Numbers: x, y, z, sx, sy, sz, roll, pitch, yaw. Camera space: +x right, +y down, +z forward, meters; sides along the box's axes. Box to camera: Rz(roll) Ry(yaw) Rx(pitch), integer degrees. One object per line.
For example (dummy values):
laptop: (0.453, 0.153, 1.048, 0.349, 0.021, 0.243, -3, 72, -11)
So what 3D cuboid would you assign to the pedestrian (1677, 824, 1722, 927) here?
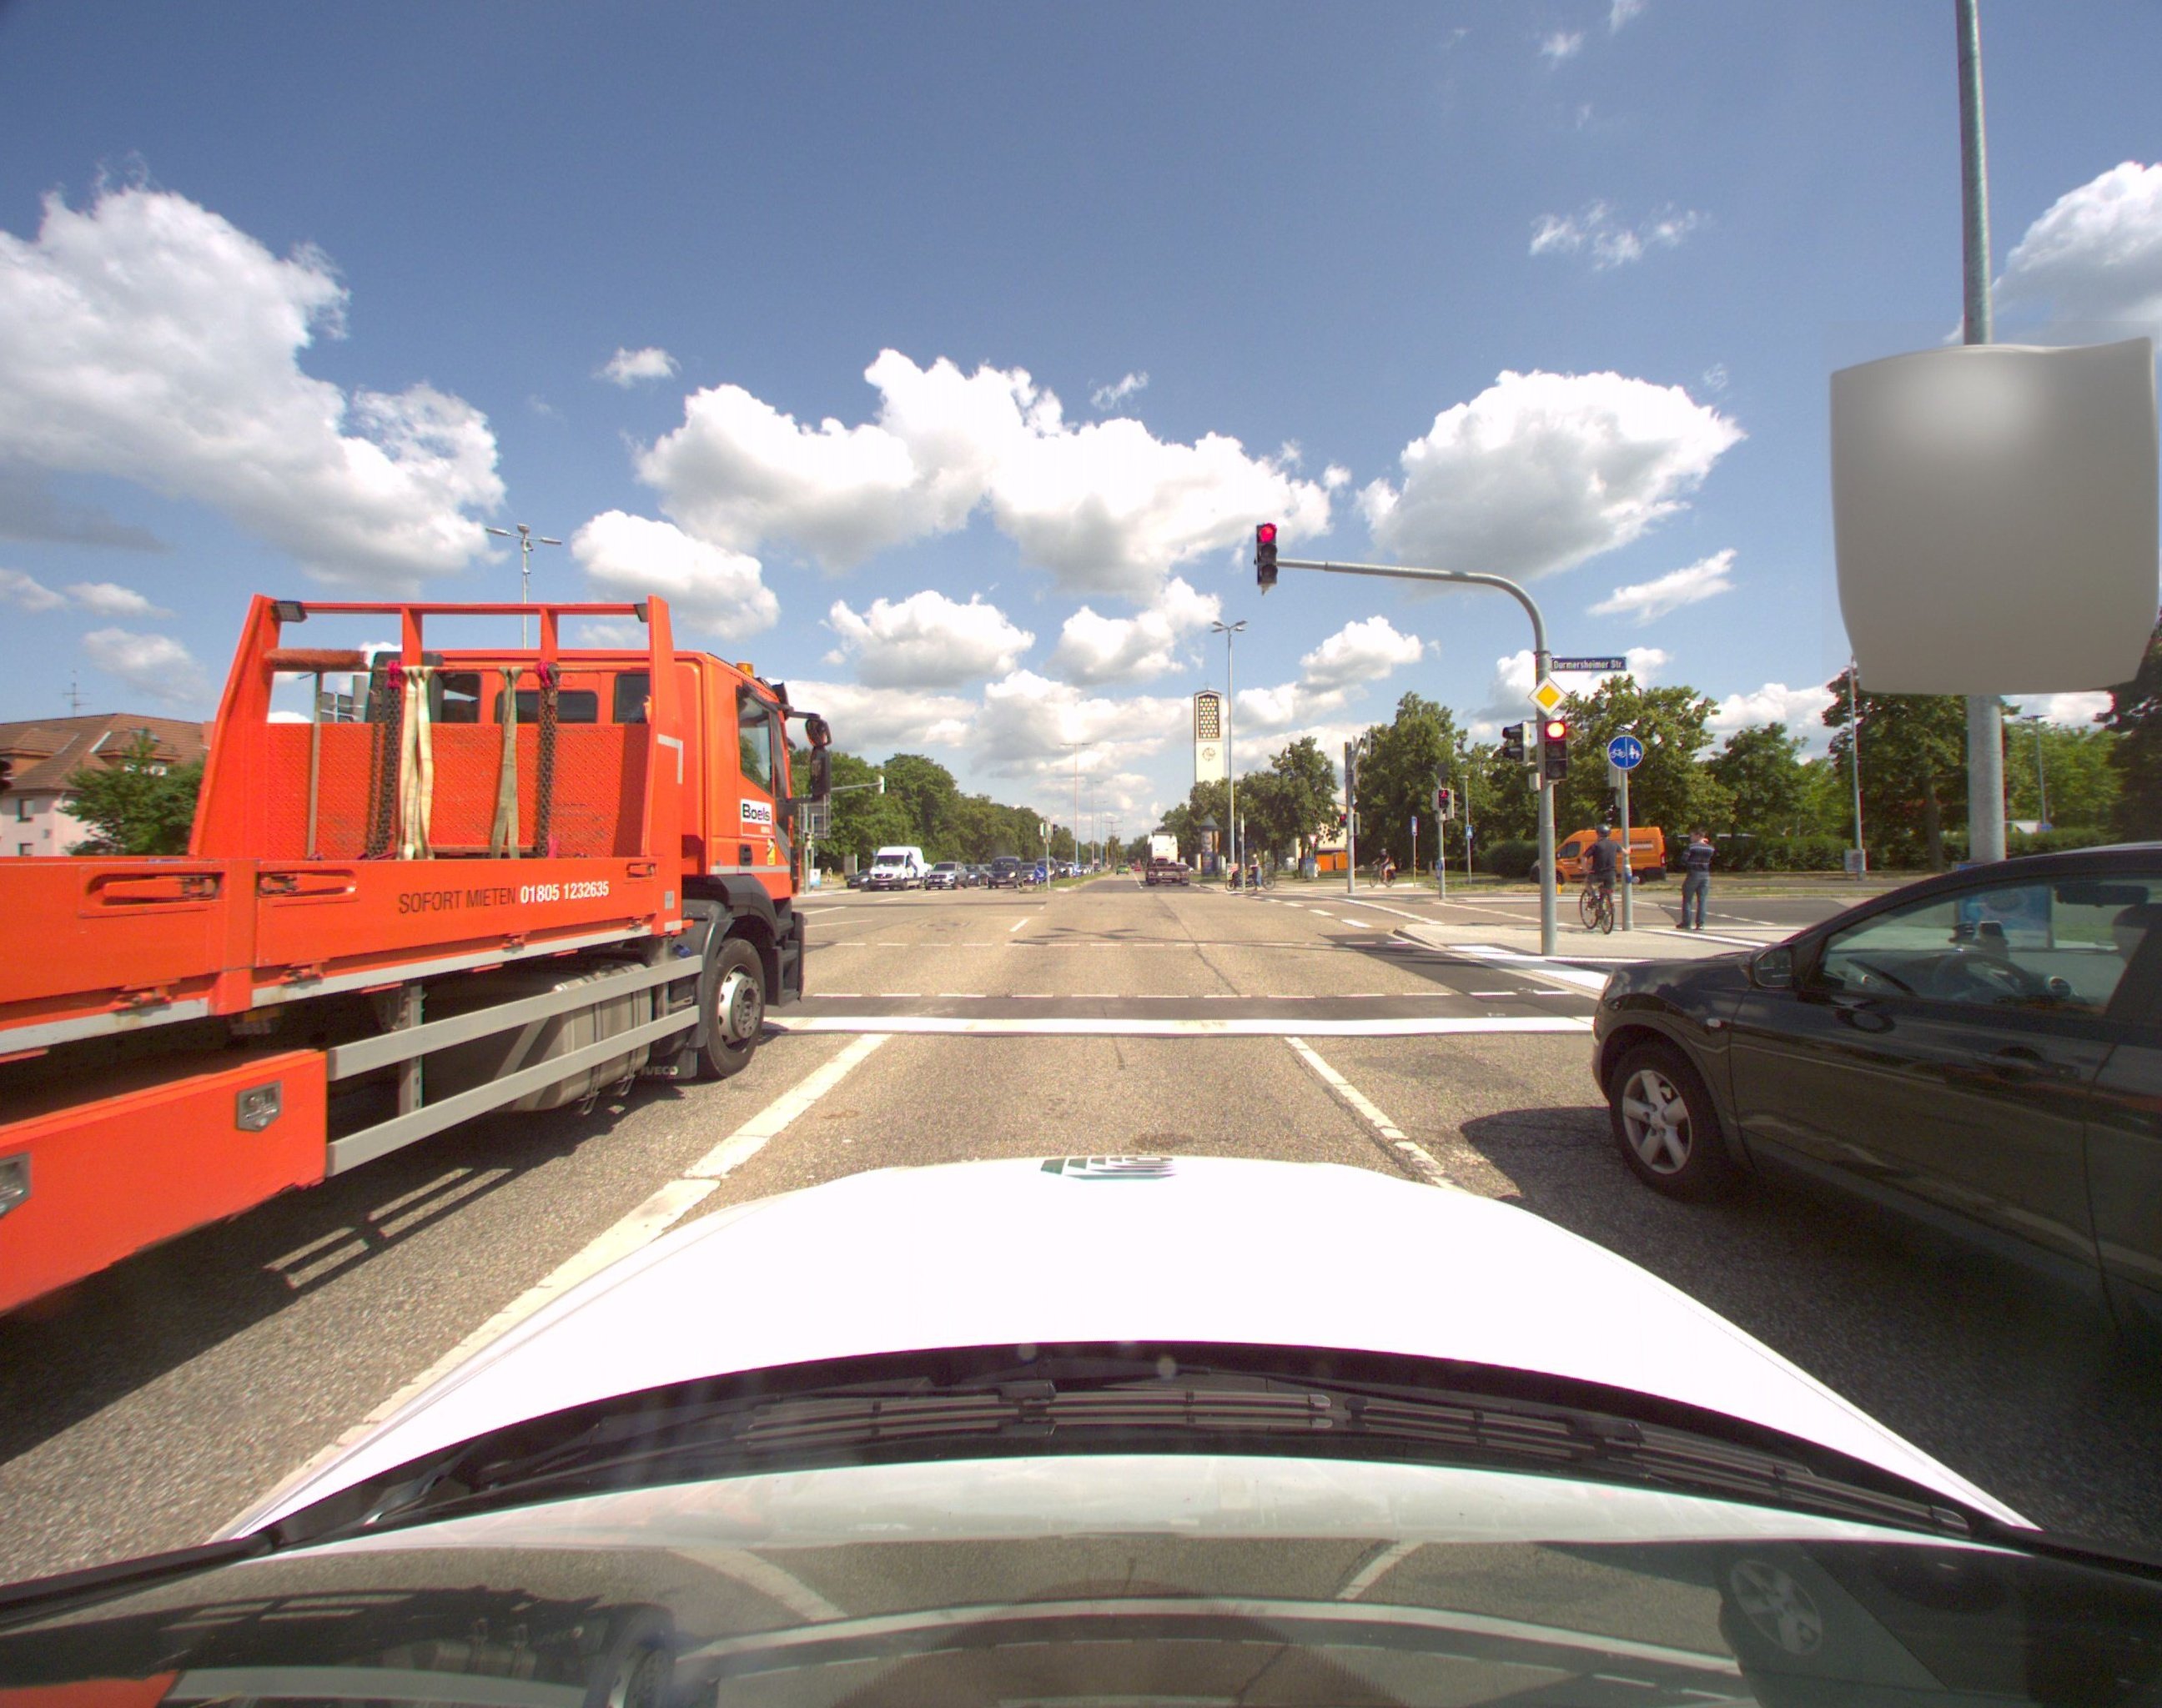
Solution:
pedestrian: (10.906, 0.379, 14.360, 0.461, 1.779, 0.483, 1, -1, 11)

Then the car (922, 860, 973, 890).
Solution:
car: (-7.518, 1.168, 46.207, 1.726, 1.543, 4.316, 1, -1, 6)

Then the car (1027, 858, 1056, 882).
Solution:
car: (-2.874, 1.150, 60.600, 1.728, 1.660, 4.233, 1, 0, 2)

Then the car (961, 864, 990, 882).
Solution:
car: (-8.495, 1.520, 65.530, 1.757, 1.352, 3.520, 0, -1, 2)

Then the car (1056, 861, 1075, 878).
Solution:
car: (-1.594, 1.635, 85.244, 1.727, 1.660, 4.234, 1, -1, 3)

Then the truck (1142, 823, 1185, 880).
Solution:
truck: (6.213, -0.062, 60.881, 2.944, 3.971, 8.652, 0, -1, 6)

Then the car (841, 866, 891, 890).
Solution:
car: (-14.680, 1.627, 55.883, 1.984, 1.530, 4.005, 1, -1, 5)

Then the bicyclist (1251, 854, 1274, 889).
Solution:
bicyclist: (8.390, 0.803, 37.639, 0.701, 1.616, 0.791, 0, -1, -22)

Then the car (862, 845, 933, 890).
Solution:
car: (-10.690, 0.796, 48.028, 2.163, 2.471, 5.977, 1, -1, 6)

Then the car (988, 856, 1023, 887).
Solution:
car: (-4.228, 0.971, 45.901, 1.730, 1.660, 4.226, 1, -1, -3)

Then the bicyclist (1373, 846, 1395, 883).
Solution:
bicyclist: (15.092, 0.511, 40.556, 0.792, 1.804, 0.678, 0, -1, -35)

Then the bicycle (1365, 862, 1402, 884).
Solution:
bicycle: (15.060, 0.933, 40.527, 2.012, 1.093, 0.678, 0, -1, -35)

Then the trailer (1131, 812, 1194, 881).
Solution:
trailer: (5.345, -0.296, 52.860, 3.602, 4.012, 11.337, 0, -1, 6)

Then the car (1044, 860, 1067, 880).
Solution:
car: (-2.295, 1.448, 73.768, 1.728, 1.660, 4.232, 1, -1, 2)

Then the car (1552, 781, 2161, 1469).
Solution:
car: (3.346, 0.634, 2.251, 1.793, 1.552, 3.999, 1, -1, 0)

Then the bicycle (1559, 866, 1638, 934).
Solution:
bicycle: (9.048, 0.772, 14.318, 0.643, 1.108, 1.936, 1, -1, 16)

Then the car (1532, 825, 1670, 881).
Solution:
car: (21.903, -0.036, 34.384, 4.797, 2.226, 2.225, 1, -1, 35)

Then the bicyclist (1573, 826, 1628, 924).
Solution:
bicyclist: (9.004, 0.357, 14.137, 0.643, 1.661, 0.653, 1, -1, 16)

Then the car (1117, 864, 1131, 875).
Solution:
car: (6.399, 2.323, 120.825, 1.986, 1.552, 4.001, 1, -1, 2)

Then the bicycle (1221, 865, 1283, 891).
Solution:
bicycle: (7.873, 1.095, 37.431, 2.844, 1.112, 0.791, 0, 0, -22)

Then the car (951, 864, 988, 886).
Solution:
car: (-7.110, 1.352, 52.369, 1.757, 1.352, 3.520, 0, -1, 2)

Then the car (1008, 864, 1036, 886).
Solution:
car: (-3.799, 1.344, 53.158, 1.563, 1.316, 3.431, 1, -1, 0)

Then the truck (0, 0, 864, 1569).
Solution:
truck: (-3.576, -0.365, 1.473, 3.059, 3.414, 11.070, 1, -1, 1)

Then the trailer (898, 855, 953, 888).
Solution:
trailer: (-10.167, 1.132, 53.623, 2.114, 2.014, 5.169, 1, -1, 6)

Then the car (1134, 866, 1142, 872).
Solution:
car: (15.302, 4.004, 220.442, 1.986, 1.552, 4.001, 1, -1, 2)
